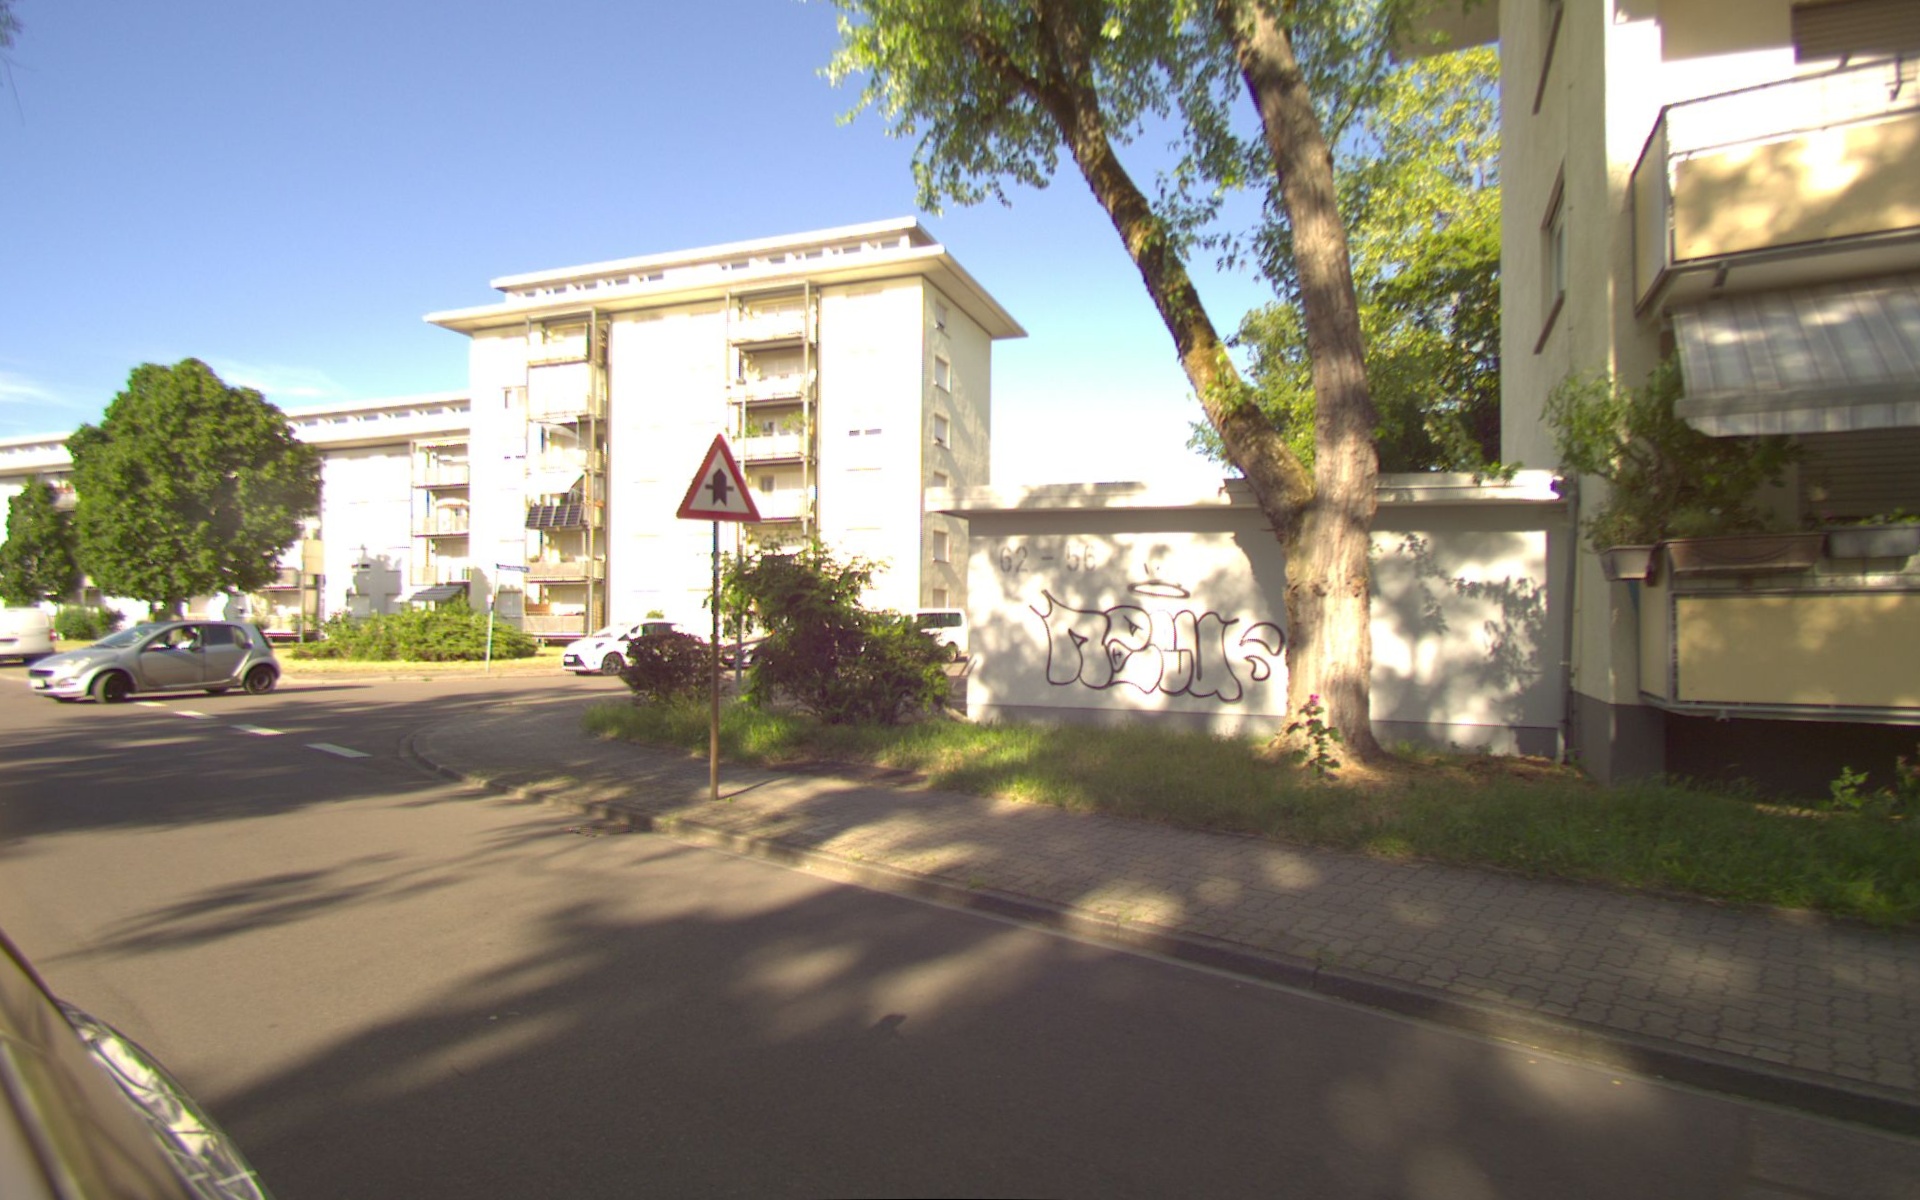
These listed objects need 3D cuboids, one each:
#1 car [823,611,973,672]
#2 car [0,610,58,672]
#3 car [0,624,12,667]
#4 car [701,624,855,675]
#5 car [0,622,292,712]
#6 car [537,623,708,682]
[{"bbox_3d":[-2.090,1.451,35.389,2.238,1.966,5.047,-2,-3,44],"label":"car"},{"bbox_3d":[-31.437,1.308,33.133,5.183,1.900,1.995,-1,0,38],"label":"car"},{"bbox_3d":[-36.194,1.656,36.870,4.215,1.529,1.816,-1,0,38],"label":"car"},{"bbox_3d":[-5.629,1.523,31.711,2.043,1.472,4.393,-2,-3,44],"label":"car"},{"bbox_3d":[-15.060,1.184,18.836,1.988,1.472,3.904,-1,-2,27],"label":"car"},{"bbox_3d":[-9.159,1.404,27.647,2.043,1.475,3.942,-2,-3,44],"label":"car"}]
